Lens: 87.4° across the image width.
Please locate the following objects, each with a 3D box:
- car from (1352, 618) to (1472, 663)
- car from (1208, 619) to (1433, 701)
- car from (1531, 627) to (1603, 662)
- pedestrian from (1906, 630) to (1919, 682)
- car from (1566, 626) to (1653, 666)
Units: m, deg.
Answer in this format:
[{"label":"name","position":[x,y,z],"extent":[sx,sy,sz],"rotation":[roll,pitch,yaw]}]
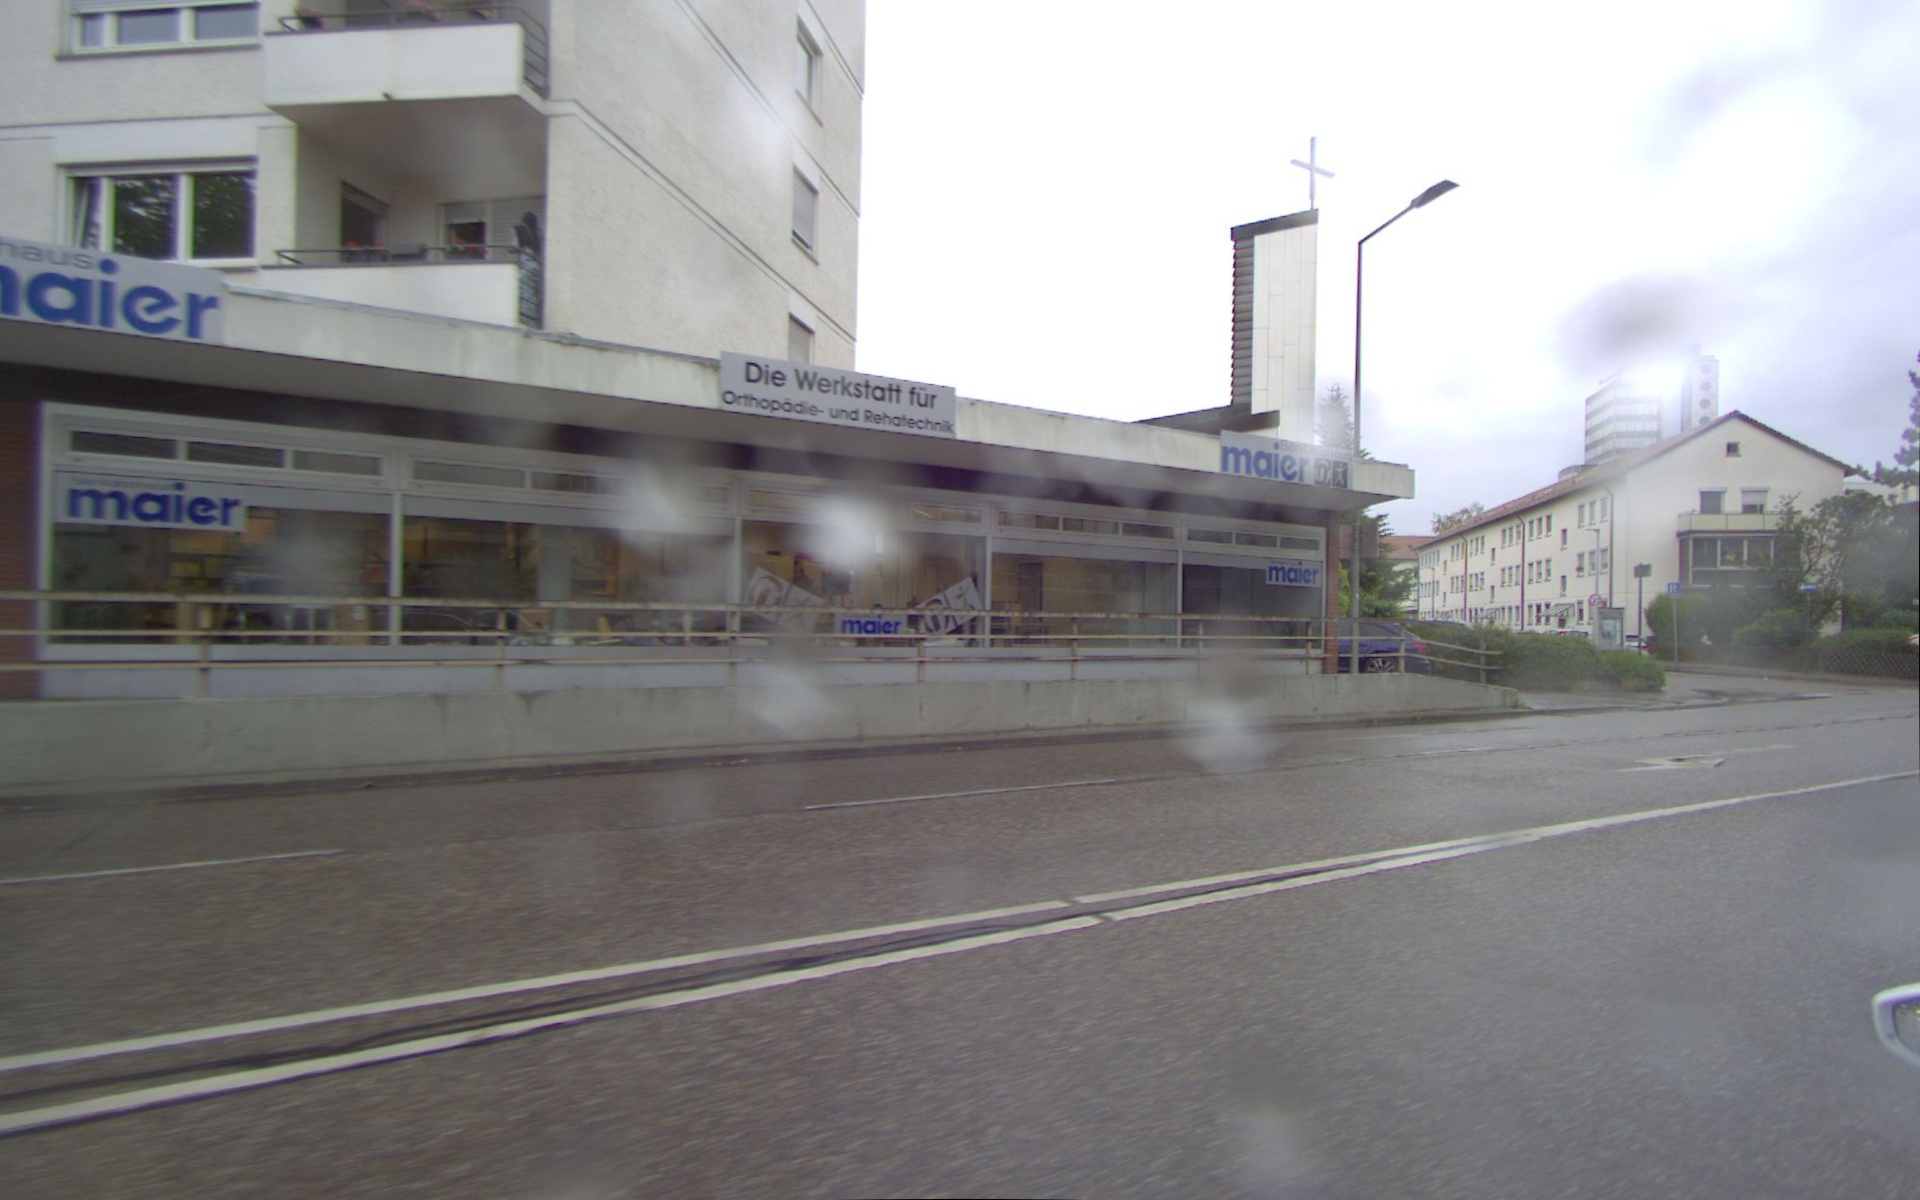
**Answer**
[{"label":"car","position":[18.441,1.620,41.202],"extent":[4.300,1.636,2.132],"rotation":[1,-1,20]},{"label":"car","position":[7.705,1.259,21.950],"extent":[4.380,1.566,2.001],"rotation":[1,-1,12]},{"label":"car","position":[28.243,2.026,46.874],"extent":[1.751,1.466,3.824],"rotation":[1,-1,13]},{"label":"pedestrian","position":[31.307,1.826,32.467],"extent":[1.093,1.628,0.863],"rotation":[3,-1,-37]},{"label":"car","position":[26.482,1.854,41.095],"extent":[1.751,1.466,4.004],"rotation":[1,-1,13]}]
